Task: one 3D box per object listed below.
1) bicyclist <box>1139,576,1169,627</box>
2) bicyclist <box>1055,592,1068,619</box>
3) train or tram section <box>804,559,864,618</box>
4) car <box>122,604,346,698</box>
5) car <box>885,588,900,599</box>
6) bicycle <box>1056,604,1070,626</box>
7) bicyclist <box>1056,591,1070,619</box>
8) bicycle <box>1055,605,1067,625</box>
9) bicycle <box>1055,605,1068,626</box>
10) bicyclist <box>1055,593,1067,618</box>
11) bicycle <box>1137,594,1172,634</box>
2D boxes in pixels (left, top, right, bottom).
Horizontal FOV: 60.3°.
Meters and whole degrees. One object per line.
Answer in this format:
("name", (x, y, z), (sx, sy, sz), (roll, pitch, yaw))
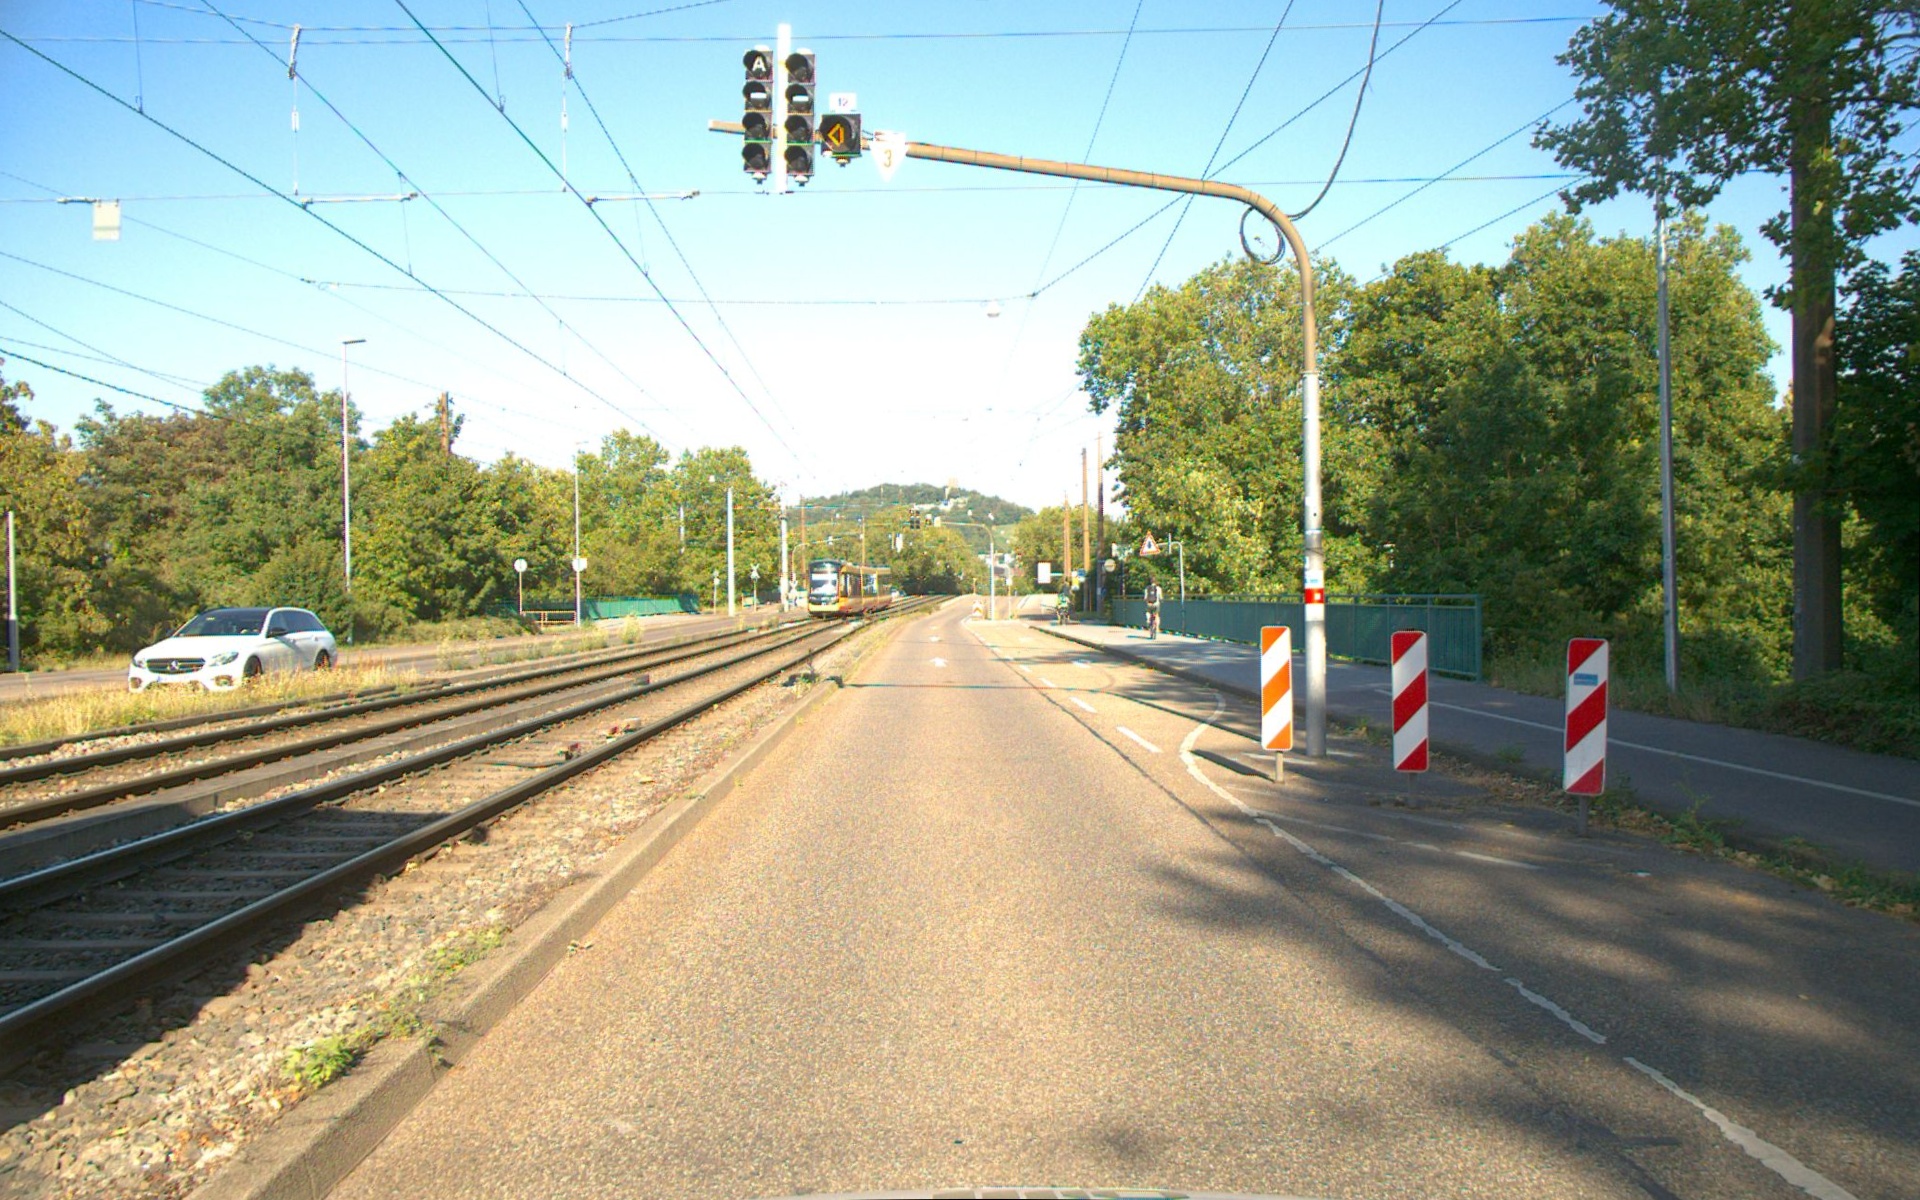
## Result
("bicyclist", (5.975, 0.037, 51.000), (0.807, 1.547, 0.975), (0, 0, -1))
("bicyclist", (5.400, 0.294, 87.908), (0.592, 1.403, 0.975), (0, 0, -1))
("train or tram section", (-8.057, -0.759, 107.066), (2.589, 3.629, 10.836), (0, 0, 2))
("car", (-12.314, 0.801, 28.443), (1.731, 1.437, 4.911), (0, 0, -1))
("car", (-9.258, -0.908, 226.861), (1.910, 1.512, 3.999), (0, 0, -1))
("bicycle", (5.161, 0.738, 83.056), (0.504, 1.060, 1.975), (0, 0, -1))
("bicyclist", (5.155, 0.231, 82.940), (0.592, 1.403, 0.975), (0, 0, -1))
("bicycle", (5.556, 0.810, 91.246), (0.528, 1.060, 1.975), (0, 0, -1))
("bicycle", (5.405, 0.813, 87.905), (0.528, 1.060, 1.975), (0, 0, -1))
("bicyclist", (5.557, 0.295, 91.311), (0.592, 1.403, 0.975), (0, 0, -1))
("bicycle", (5.979, 0.405, 51.031), (0.713, 1.196, 2.694), (-1, 0, -1))
